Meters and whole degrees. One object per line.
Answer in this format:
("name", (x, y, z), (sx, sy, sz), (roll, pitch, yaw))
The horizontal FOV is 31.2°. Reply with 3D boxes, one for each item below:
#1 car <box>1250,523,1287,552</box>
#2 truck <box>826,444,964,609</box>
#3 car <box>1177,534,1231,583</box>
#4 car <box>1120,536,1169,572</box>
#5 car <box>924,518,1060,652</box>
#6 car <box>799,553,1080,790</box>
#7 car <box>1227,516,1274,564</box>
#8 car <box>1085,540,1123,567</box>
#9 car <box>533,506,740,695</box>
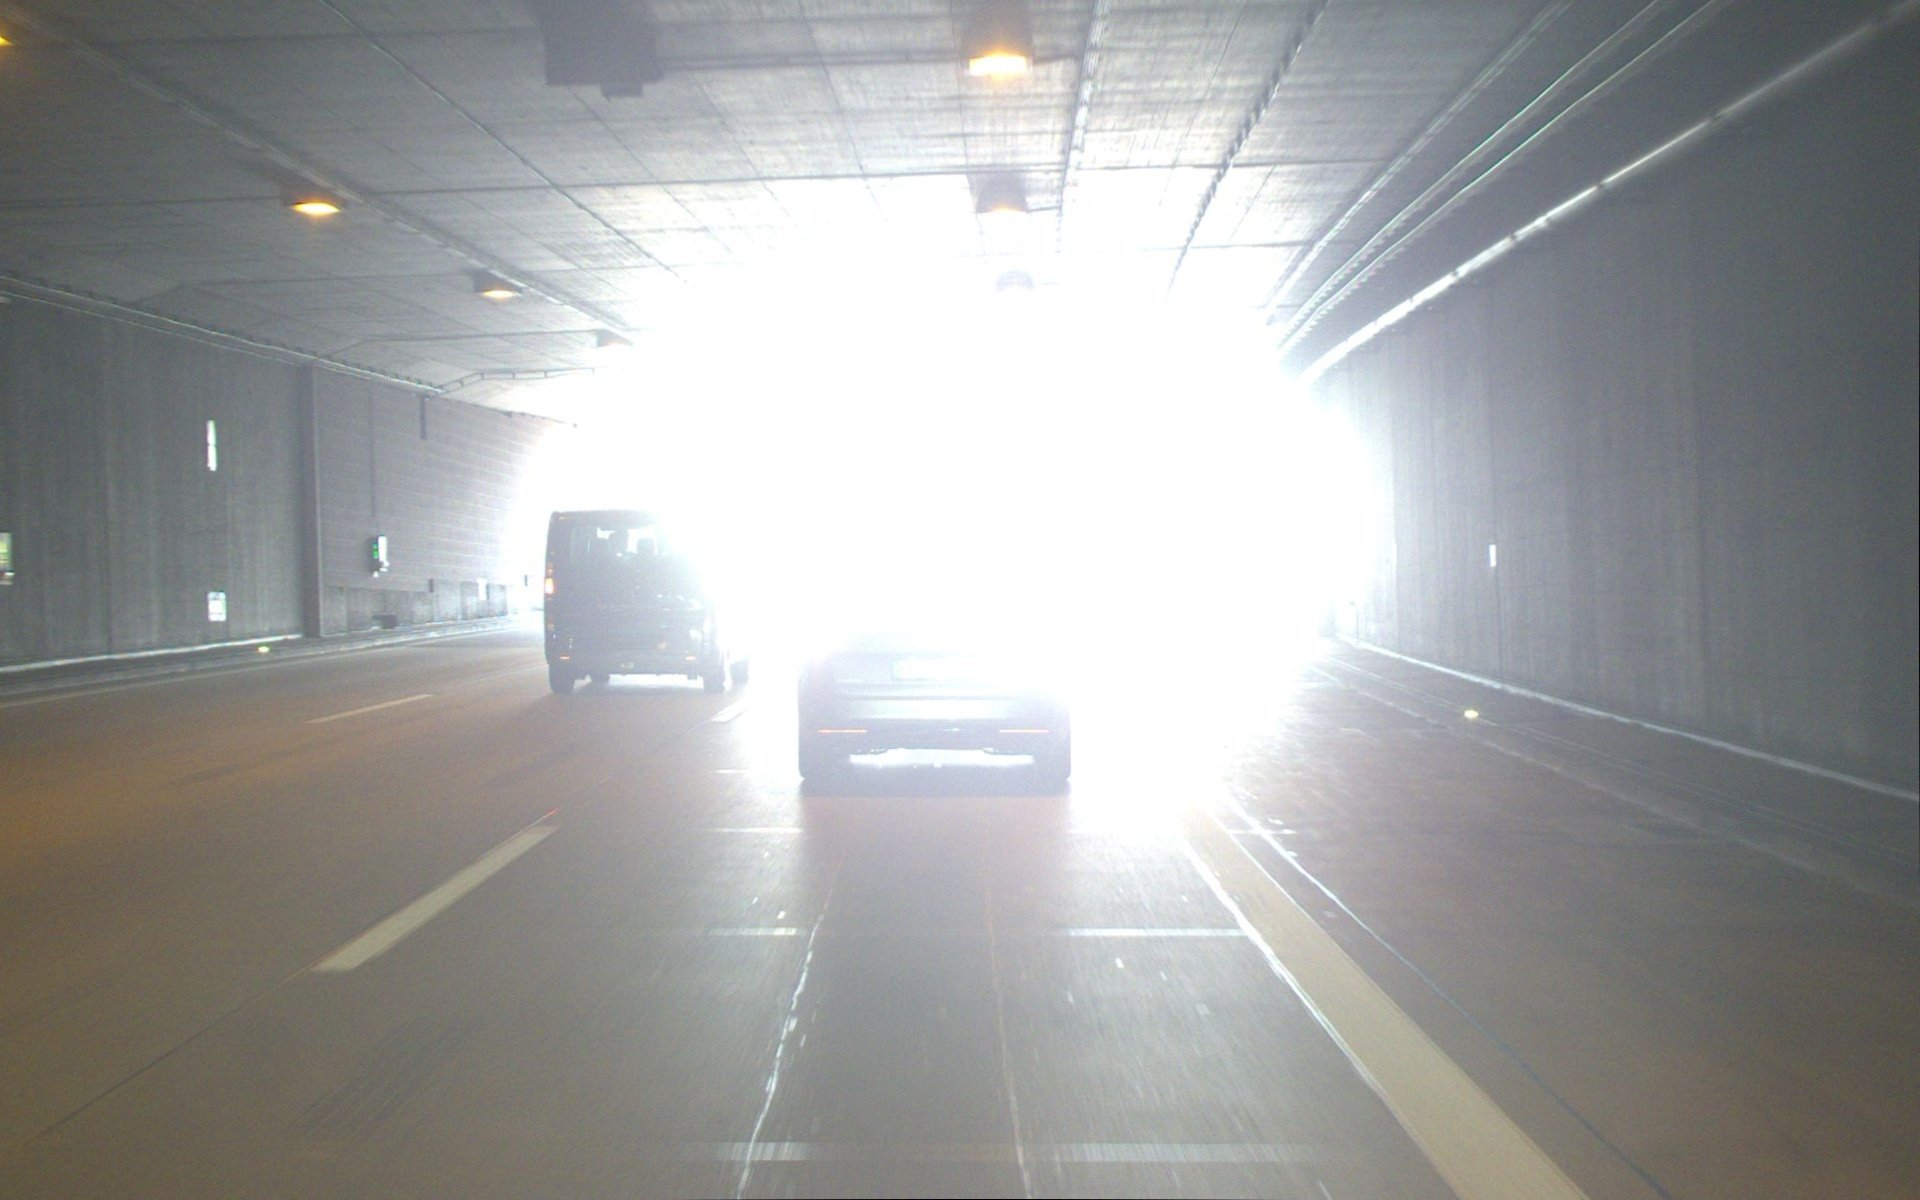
("car", (17.327, -3.512, 193.030), (1.931, 1.637, 3.999), (0, 1, 7))
("truck", (-1.454, -1.696, 80.304), (3.039, 3.660, 7.393), (0, 1, 0))
("car", (9.059, -1.514, 127.427), (1.931, 1.637, 3.999), (-1, -2, 5))
("car", (8.882, -2.219, 165.261), (1.994, 1.626, 3.998), (0, -1, 8))
("car", (0.502, -0.244, 49.756), (1.857, 1.848, 4.000), (0, 1, 2))
("car", (-0.146, 0.419, 23.328), (1.742, 1.459, 3.871), (0, 1, -1))
("car", (13.240, -2.716, 156.306), (1.994, 2.007, 3.999), (-1, -2, 7))
("car", (8.957, -2.901, 213.215), (1.931, 1.637, 3.999), (0, 1, 9))
("car", (-3.457, -0.024, 37.384), (1.909, 1.938, 3.871), (0, 1, -1))
